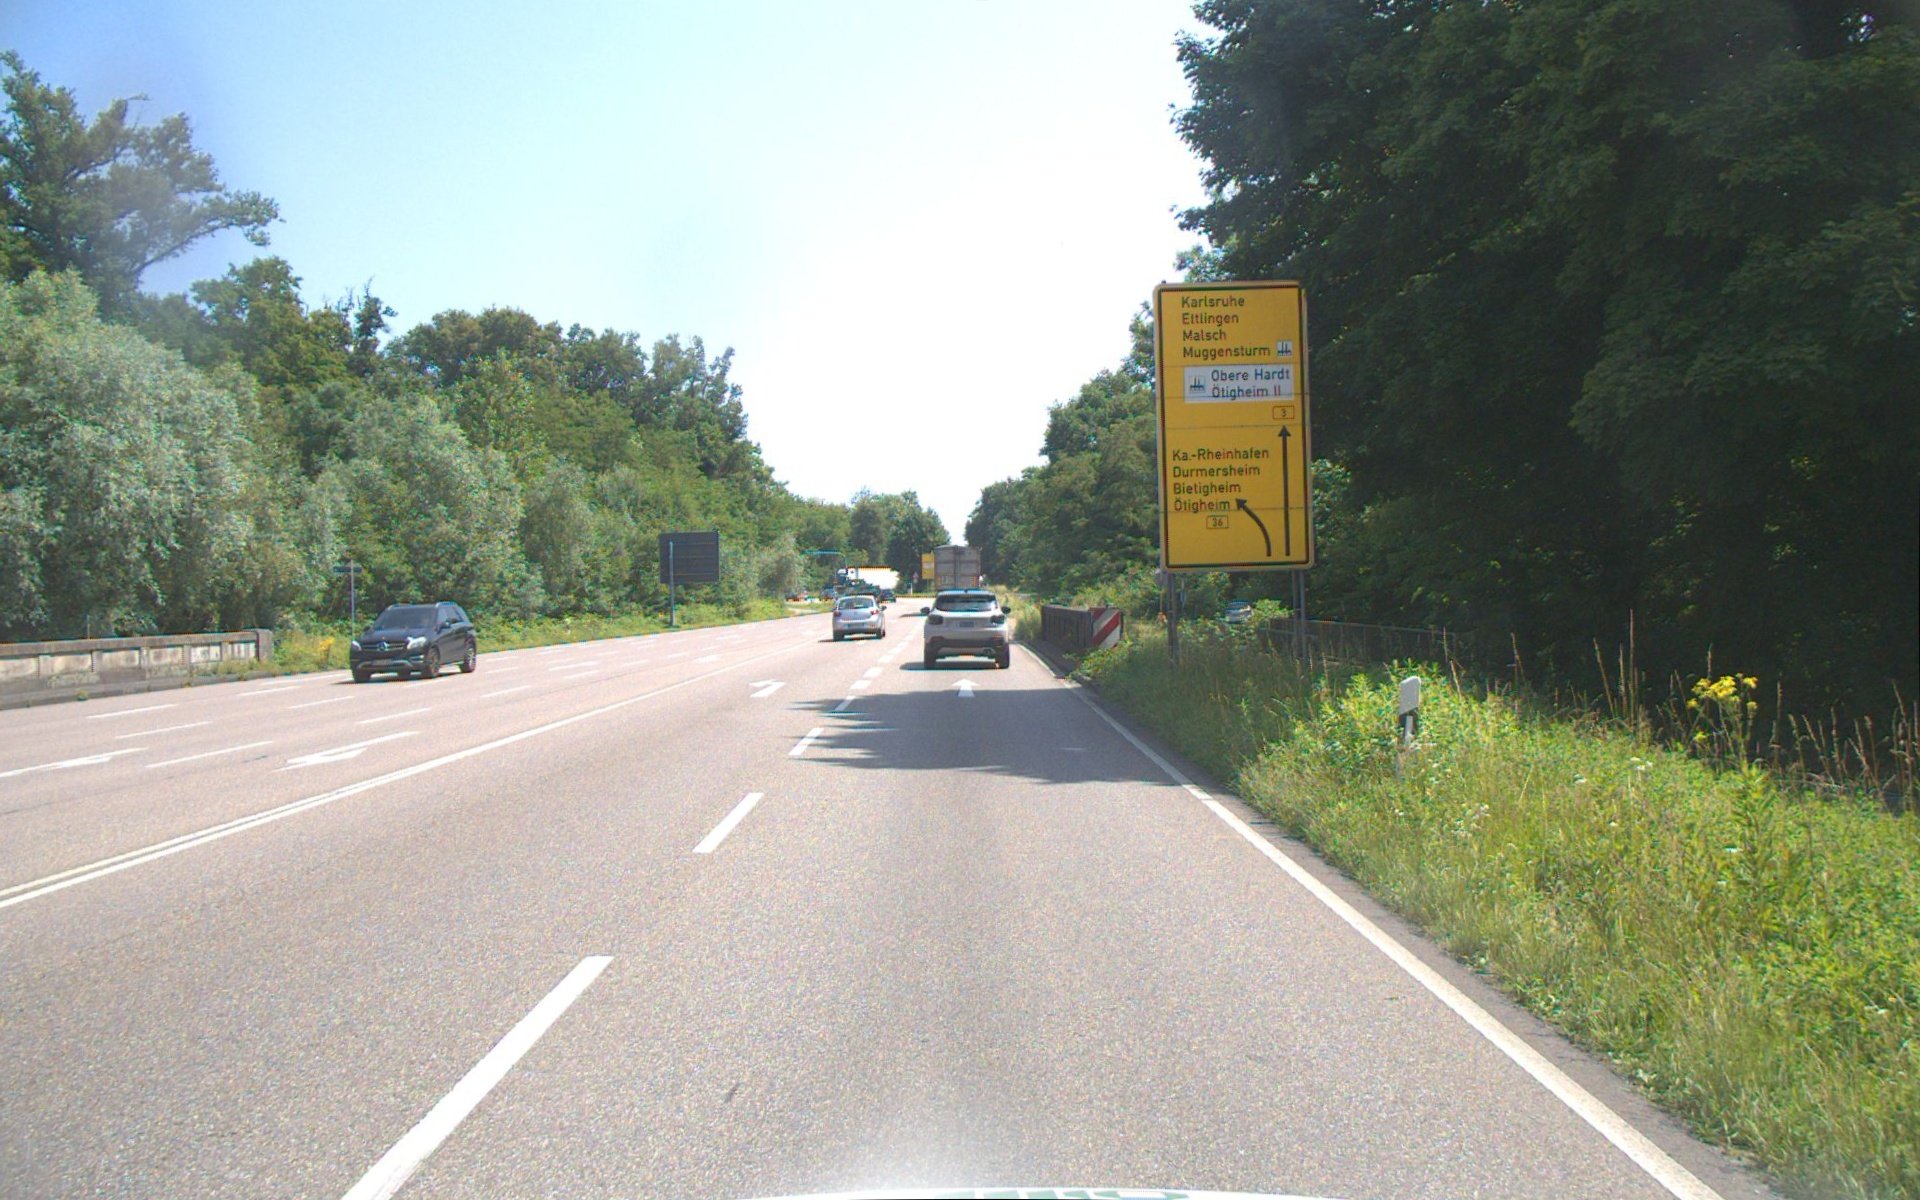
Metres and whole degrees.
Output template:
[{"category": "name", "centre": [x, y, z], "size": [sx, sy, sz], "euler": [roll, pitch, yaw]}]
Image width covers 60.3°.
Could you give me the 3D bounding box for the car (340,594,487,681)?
[{"category": "car", "centre": [-13.332, 0.860, 40.676], "size": [1.953, 1.914, 4.959], "euler": [-2, 0, -1]}]

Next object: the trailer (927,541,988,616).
[{"category": "trailer", "centre": [-0.118, -1.181, 95.702], "size": [3.313, 4.058, 10.803], "euler": [0, 0, 0]}]

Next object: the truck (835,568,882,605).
[{"category": "truck", "centre": [-11.814, -1.497, 191.803], "size": [3.586, 4.177, 9.467], "euler": [0, 0, -16]}]

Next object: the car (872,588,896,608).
[{"category": "car", "centre": [-8.103, -0.229, 175.974], "size": [1.958, 2.049, 4.541], "euler": [-2, 0, -11]}]

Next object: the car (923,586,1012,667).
[{"category": "car", "centre": [0.169, 0.510, 34.439], "size": [1.731, 1.561, 4.000], "euler": [-1, 0, 1]}]

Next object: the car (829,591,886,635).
[{"category": "car", "centre": [-3.410, 0.412, 55.717], "size": [1.631, 1.455, 3.828], "euler": [0, 0, 1]}]

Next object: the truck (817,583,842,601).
[{"category": "truck", "centre": [-16.477, -1.041, 208.646], "size": [2.102, 2.235, 4.632], "euler": [0, 0, -19]}]

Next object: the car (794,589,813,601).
[{"category": "car", "centre": [-20.734, -0.657, 218.688], "size": [1.960, 1.613, 3.986], "euler": [0, 0, -14]}]
